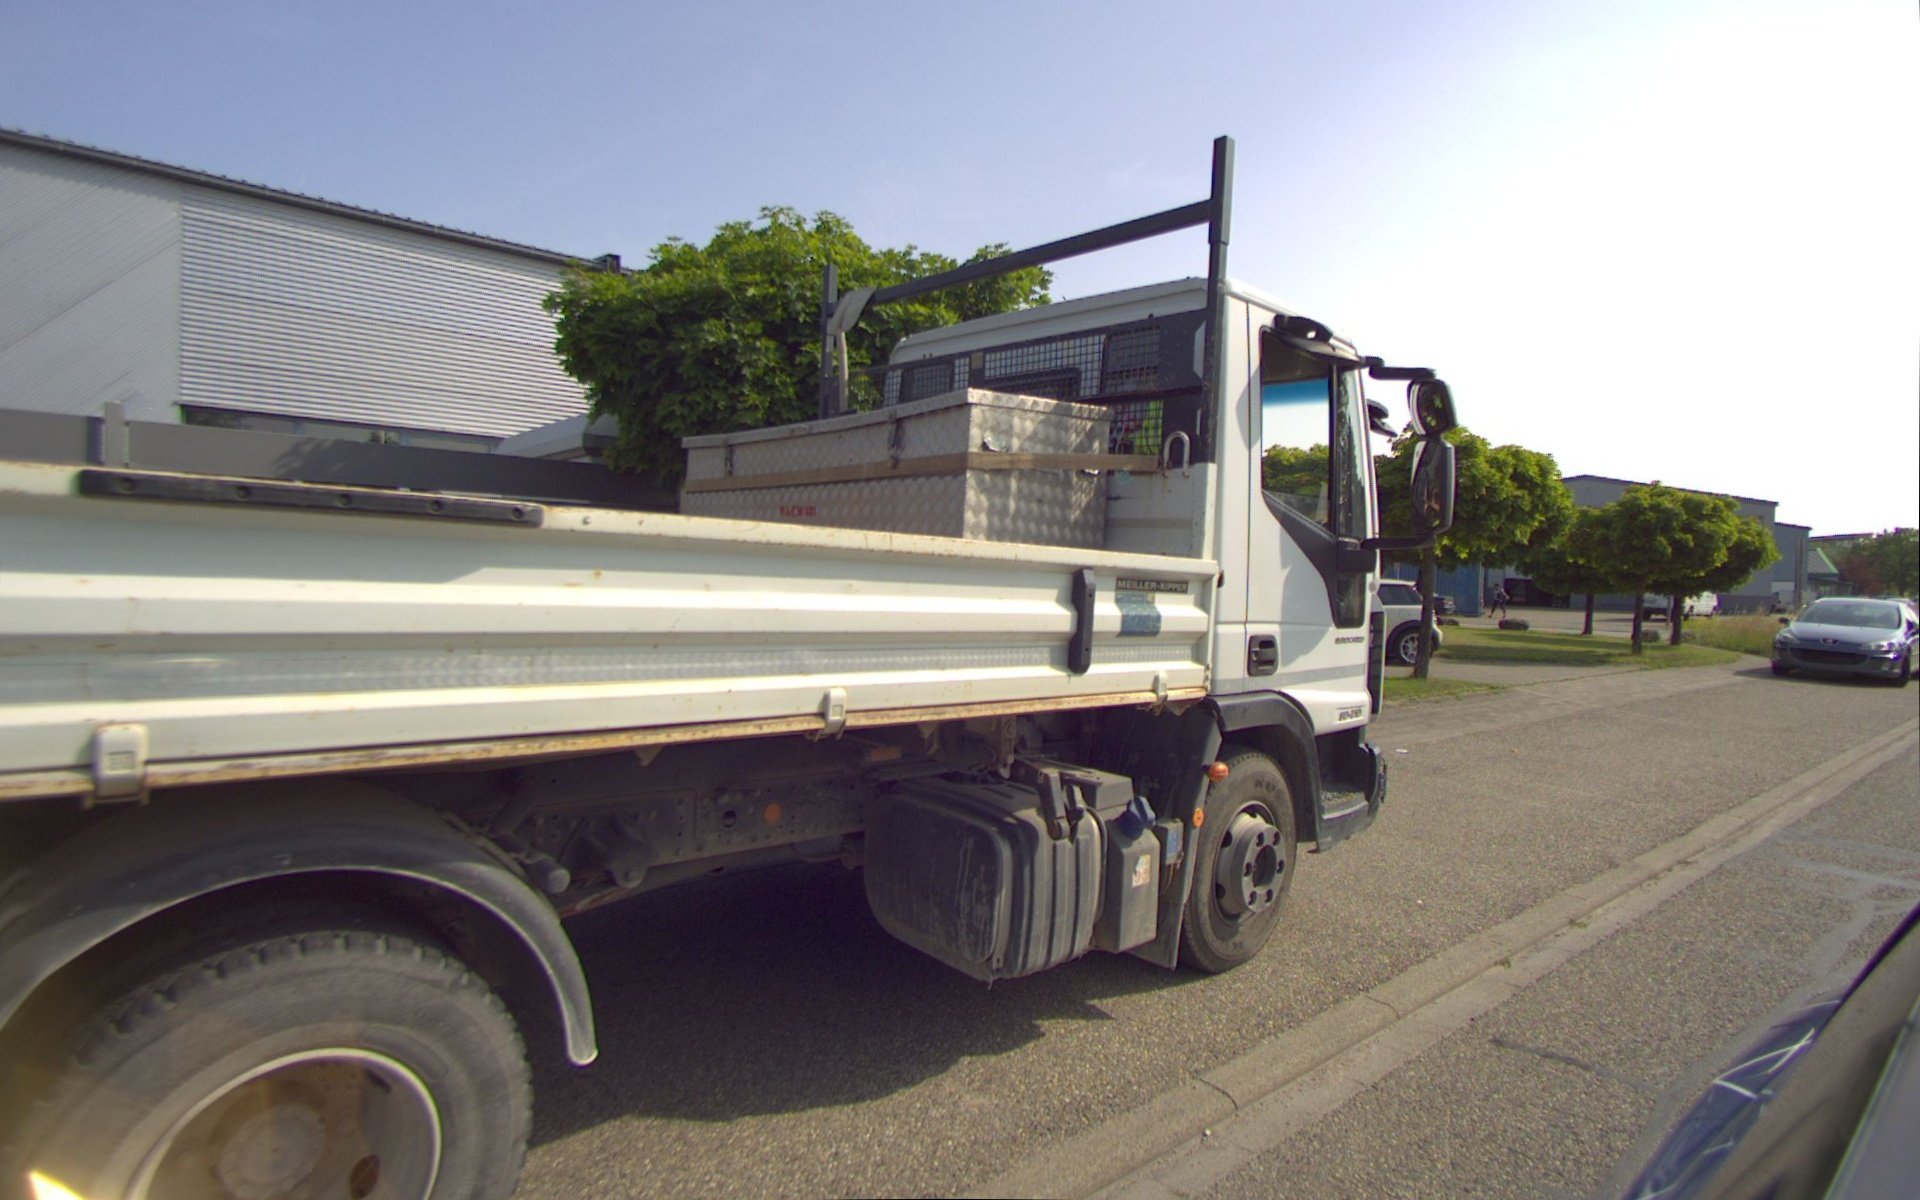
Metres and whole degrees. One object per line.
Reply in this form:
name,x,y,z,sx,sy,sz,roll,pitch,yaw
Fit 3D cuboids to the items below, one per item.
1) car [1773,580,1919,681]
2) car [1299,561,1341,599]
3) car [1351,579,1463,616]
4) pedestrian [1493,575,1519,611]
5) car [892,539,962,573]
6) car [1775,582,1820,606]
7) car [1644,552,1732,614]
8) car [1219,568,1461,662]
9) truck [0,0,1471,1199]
car,16.231,0.470,18.111,4.346,1.536,1.798,0,3,-40
car,20.464,-1.161,57.495,1.978,2.038,3.970,2,2,23
car,20.471,-0.155,46.428,4.447,1.426,1.788,3,3,36
pedestrian,25.368,-0.326,47.042,0.733,1.660,0.706,1,1,-7
car,-1.472,-2.025,46.062,1.550,1.468,3.480,2,3,31
car,58.807,-0.437,71.108,1.625,1.587,3.768,2,2,28
car,34.324,-0.785,47.624,5.777,2.739,1.978,0,2,-41
car,6.457,0.209,17.594,3.639,1.397,1.683,2,2,11
truck,-0.914,-0.155,3.108,6.403,2.714,2.362,0,3,-44
